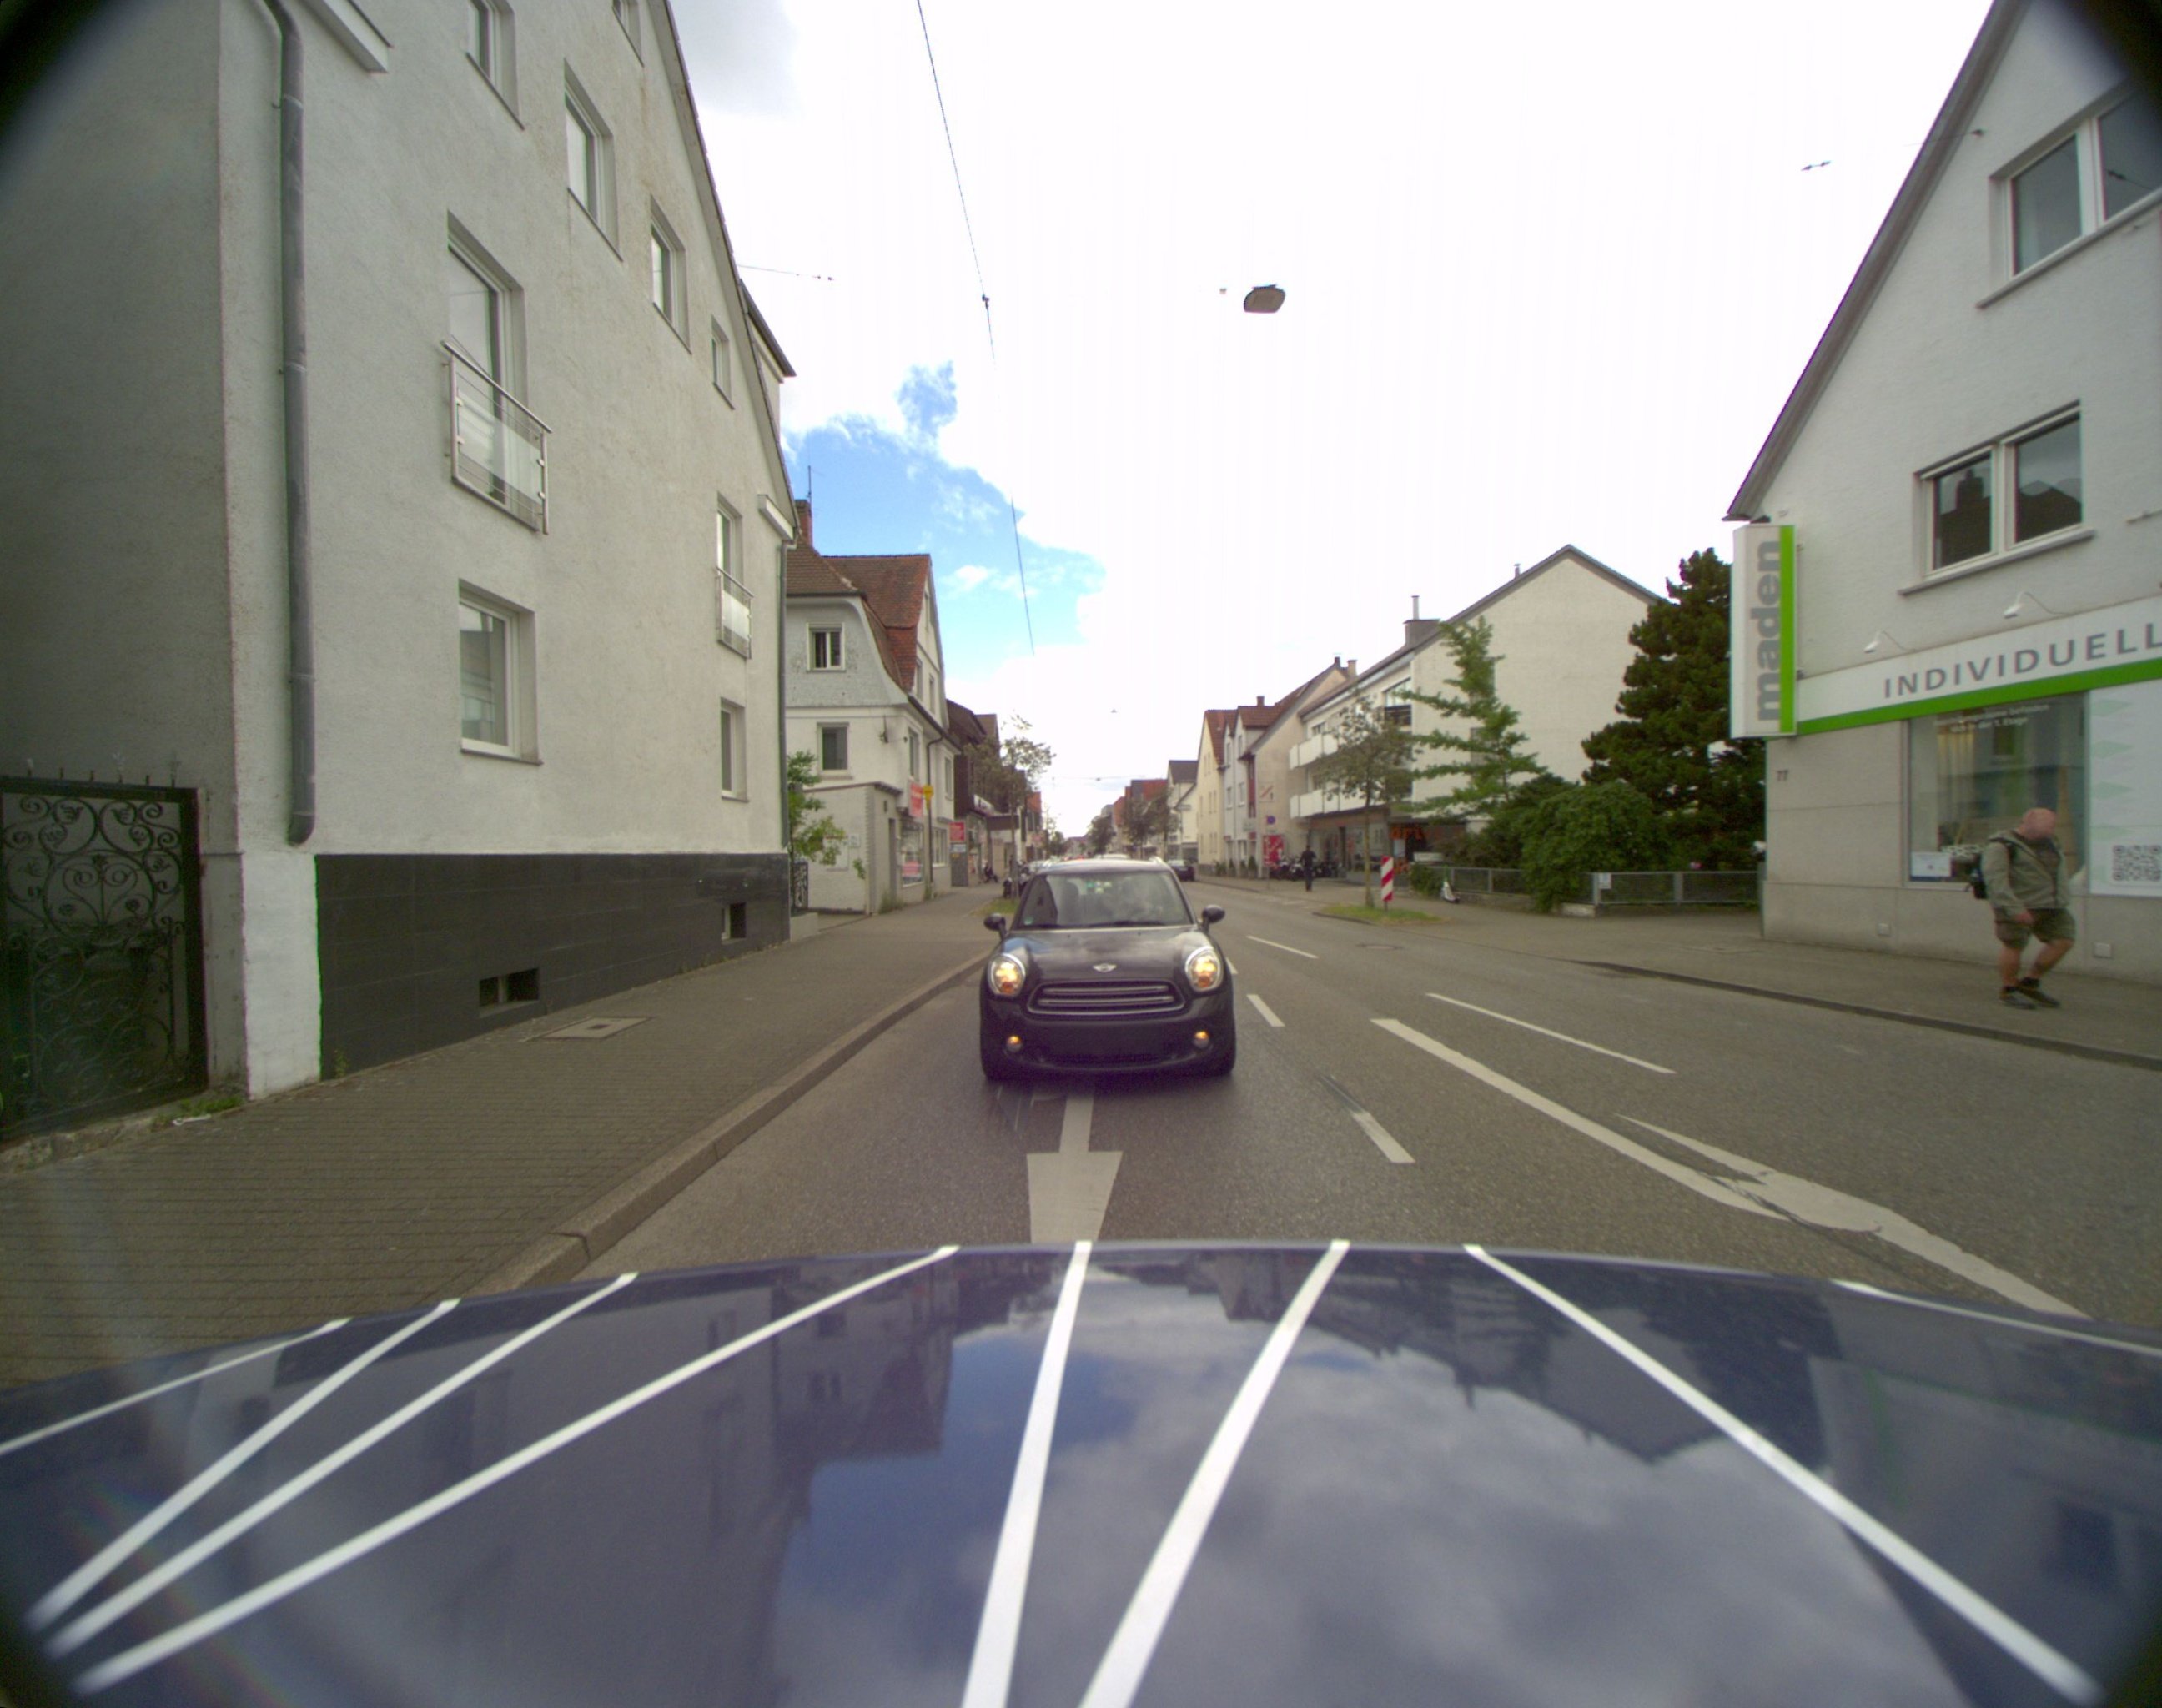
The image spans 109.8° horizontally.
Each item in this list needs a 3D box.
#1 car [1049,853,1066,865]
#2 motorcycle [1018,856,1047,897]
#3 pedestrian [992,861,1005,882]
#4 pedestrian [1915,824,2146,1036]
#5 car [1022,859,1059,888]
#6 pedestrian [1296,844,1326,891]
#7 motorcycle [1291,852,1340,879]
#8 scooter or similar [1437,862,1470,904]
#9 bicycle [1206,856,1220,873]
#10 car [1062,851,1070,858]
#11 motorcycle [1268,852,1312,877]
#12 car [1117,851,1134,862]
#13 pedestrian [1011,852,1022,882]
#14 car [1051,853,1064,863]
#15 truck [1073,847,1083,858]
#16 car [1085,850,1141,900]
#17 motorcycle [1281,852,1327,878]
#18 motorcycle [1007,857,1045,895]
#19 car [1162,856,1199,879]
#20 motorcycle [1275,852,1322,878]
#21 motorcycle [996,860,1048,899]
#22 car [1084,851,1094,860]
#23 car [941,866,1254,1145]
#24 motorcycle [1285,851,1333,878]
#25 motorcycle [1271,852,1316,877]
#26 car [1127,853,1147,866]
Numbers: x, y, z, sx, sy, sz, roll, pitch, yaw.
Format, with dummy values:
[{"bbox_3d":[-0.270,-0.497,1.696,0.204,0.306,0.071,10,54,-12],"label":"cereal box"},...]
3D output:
[{"bbox_3d":[-2.609,0.541,84.151,1.794,1.356,3.948,1,0,0],"label":"car"},{"bbox_3d":[-1.922,0.853,30.380,0.672,1.516,2.599,-2,0,6],"label":"motorcycle"},{"bbox_3d":[-4.952,1.046,45.547,0.742,1.204,0.644,0,1,-1],"label":"pedestrian"},{"bbox_3d":[8.521,0.638,6.880,0.753,1.733,1.019,-3,1,0],"label":"pedestrian"},{"bbox_3d":[-2.181,1.019,41.828,1.830,1.400,4.564,-2,0,-1],"label":"car"},{"bbox_3d":[9.269,0.530,30.672,0.753,1.838,1.019,-5,1,0],"label":"pedestrian"},{"bbox_3d":[11.919,0.572,38.666,2.231,1.258,0.613,-4,1,-2],"label":"motorcycle"},{"bbox_3d":[10.359,0.802,21.153,0.340,1.105,1.180,-2,1,0],"label":"scooter or similar"},{"bbox_3d":[9.412,0.735,54.193,0.515,1.189,2.023,-2,0,-1],"label":"bicycle"},{"bbox_3d":[-4.436,0.095,224.748,2.059,2.002,4.186,-2,0,-1],"label":"car"},{"bbox_3d":[11.741,0.570,42.749,2.231,1.258,0.613,-4,1,-2],"label":"motorcycle"},{"bbox_3d":[5.616,0.300,95.875,1.716,1.389,3.899,-2,0,-2],"label":"car"},{"bbox_3d":[-3.671,0.726,43.320,0.644,1.730,0.742,0,1,-6],"label":"pedestrian"},{"bbox_3d":[-3.484,0.616,114.169,1.794,1.397,3.948,1,0,0],"label":"car"},{"bbox_3d":[-0.876,-0.449,218.002,2.800,3.020,8.250,-2,0,0],"label":"truck"},{"bbox_3d":[1.090,0.692,28.022,1.855,1.615,4.736,-2,0,0],"label":"car"},{"bbox_3d":[11.826,0.581,40.330,2.231,1.258,0.613,-4,1,-2],"label":"motorcycle"},{"bbox_3d":[-2.258,0.893,31.648,0.648,1.432,2.472,-2,1,19],"label":"motorcycle"},{"bbox_3d":[6.444,0.849,49.587,1.792,1.409,4.340,0,0,-1],"label":"car"},{"bbox_3d":[11.769,0.582,41.146,2.231,1.258,0.699,-4,1,-2],"label":"motorcycle"},{"bbox_3d":[-2.199,0.920,28.121,0.777,1.373,2.237,-2,1,-37],"label":"motorcycle"},{"bbox_3d":[1.637,0.282,153.679,1.855,1.932,4.490,1,0,-2],"label":"car"},{"bbox_3d":[0.025,0.949,6.968,1.855,1.527,4.735,-2,0,-2],"label":"car"},{"bbox_3d":[11.861,0.557,39.546,2.231,1.258,0.613,-4,1,-2],"label":"motorcycle"},{"bbox_3d":[11.768,0.573,42.079,2.231,1.258,0.613,-4,1,-2],"label":"motorcycle"},{"bbox_3d":[6.259,0.565,85.177,1.716,1.389,3.899,-2,0,-2],"label":"car"}]
